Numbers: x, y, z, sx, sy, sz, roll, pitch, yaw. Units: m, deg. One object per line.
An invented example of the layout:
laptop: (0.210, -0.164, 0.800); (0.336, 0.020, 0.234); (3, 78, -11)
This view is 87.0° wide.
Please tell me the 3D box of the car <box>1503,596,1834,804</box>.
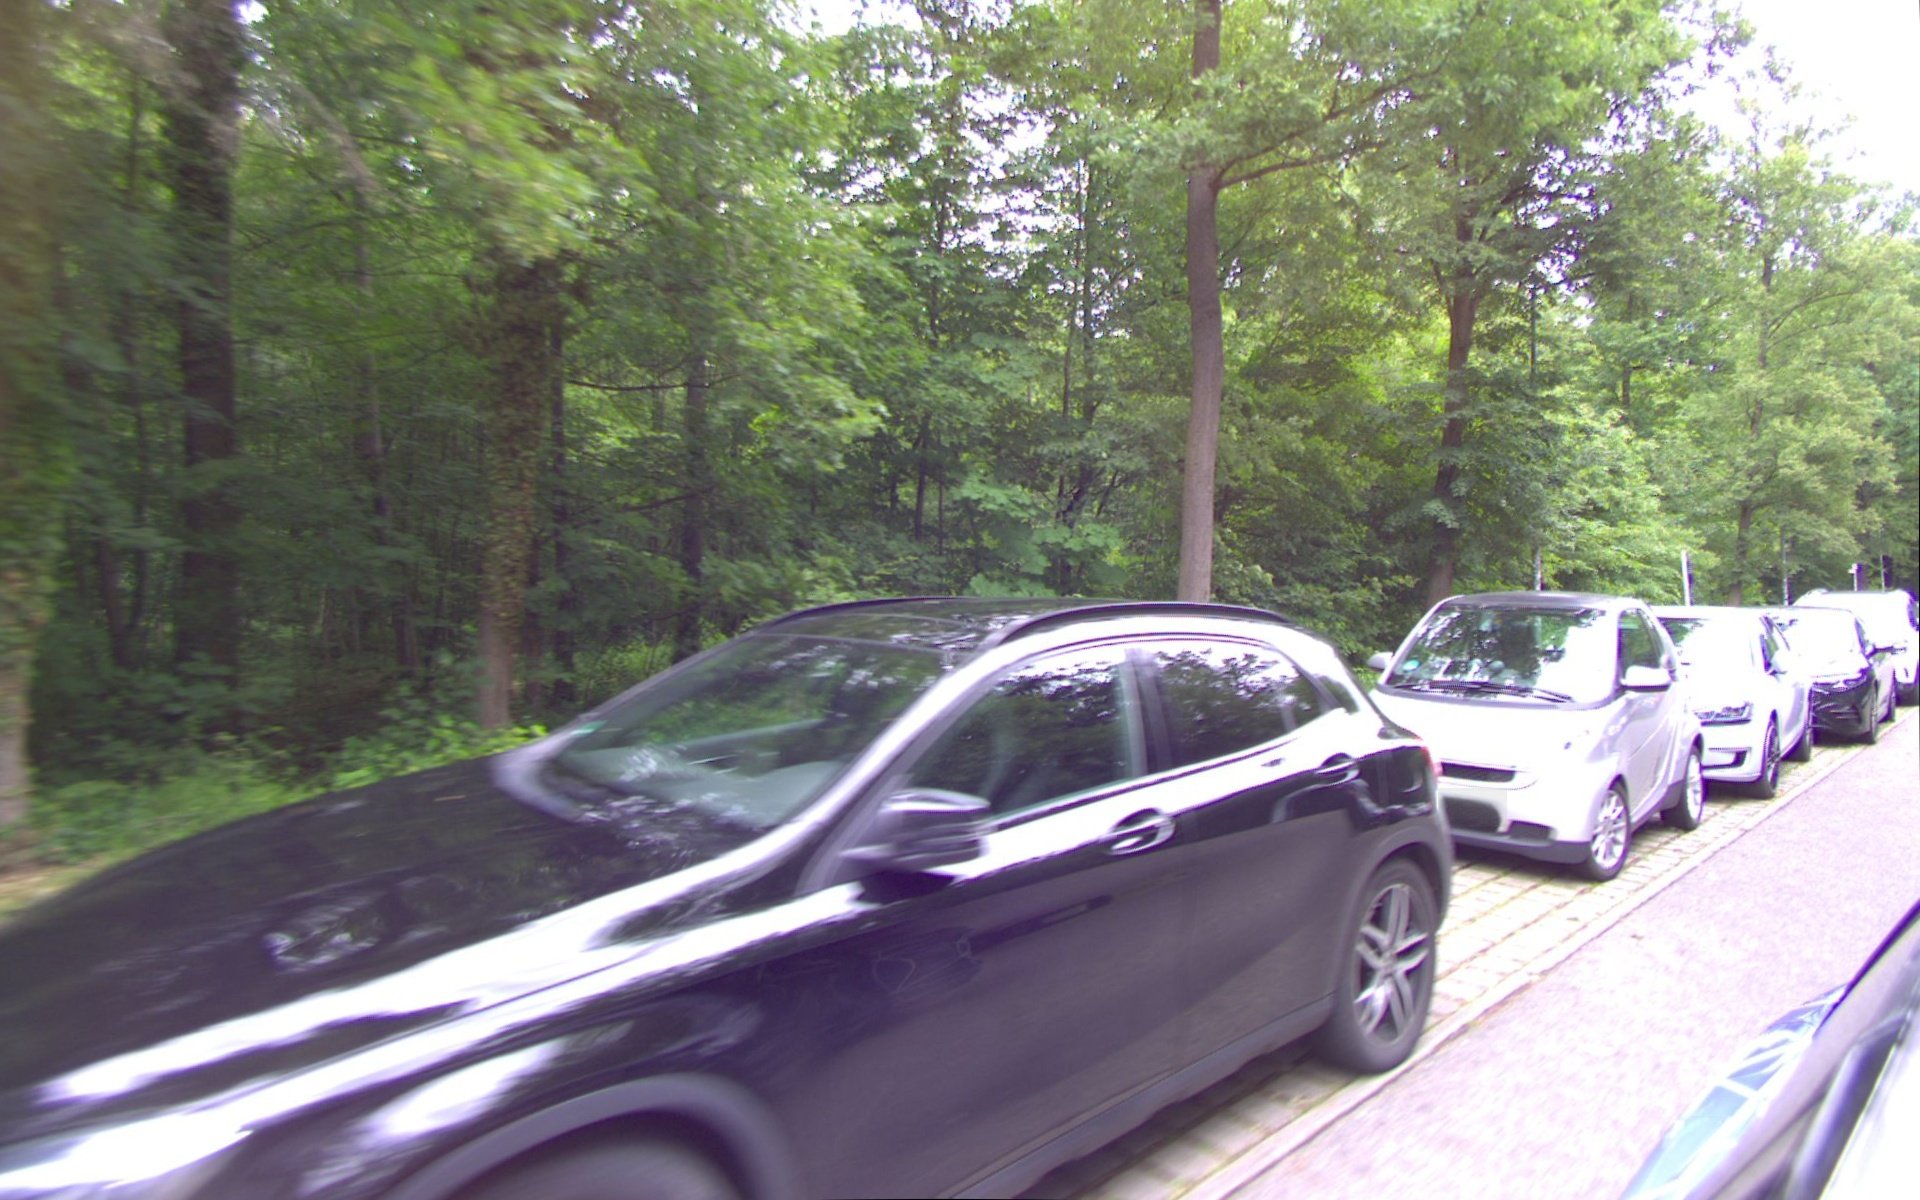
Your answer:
car: (6.503, 0.691, 9.106); (4.086, 1.443, 1.737); (0, 0, -45)

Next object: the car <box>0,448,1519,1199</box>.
car: (-0.157, 0.644, 2.917); (4.306, 1.609, 1.739); (0, 0, -41)

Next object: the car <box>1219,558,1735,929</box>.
car: (3.434, 0.609, 6.347); (3.943, 1.588, 1.737); (0, 0, -45)

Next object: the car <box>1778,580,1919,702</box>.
car: (14.521, 0.554, 16.051); (4.986, 1.664, 1.738); (0, 0, -43)

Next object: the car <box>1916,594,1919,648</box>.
car: (28.115, 0.563, 28.294); (4.665, 1.453, 1.738); (0, 0, -43)

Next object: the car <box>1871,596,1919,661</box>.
car: (22.853, 0.626, 23.817); (4.353, 1.425, 1.738); (0, 0, -43)

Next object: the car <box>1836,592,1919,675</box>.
car: (18.797, 0.600, 20.026); (4.689, 1.498, 1.738); (0, 0, -43)

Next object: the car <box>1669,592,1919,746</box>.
car: (10.031, 0.665, 12.024); (4.528, 1.493, 1.738); (0, 0, -43)
